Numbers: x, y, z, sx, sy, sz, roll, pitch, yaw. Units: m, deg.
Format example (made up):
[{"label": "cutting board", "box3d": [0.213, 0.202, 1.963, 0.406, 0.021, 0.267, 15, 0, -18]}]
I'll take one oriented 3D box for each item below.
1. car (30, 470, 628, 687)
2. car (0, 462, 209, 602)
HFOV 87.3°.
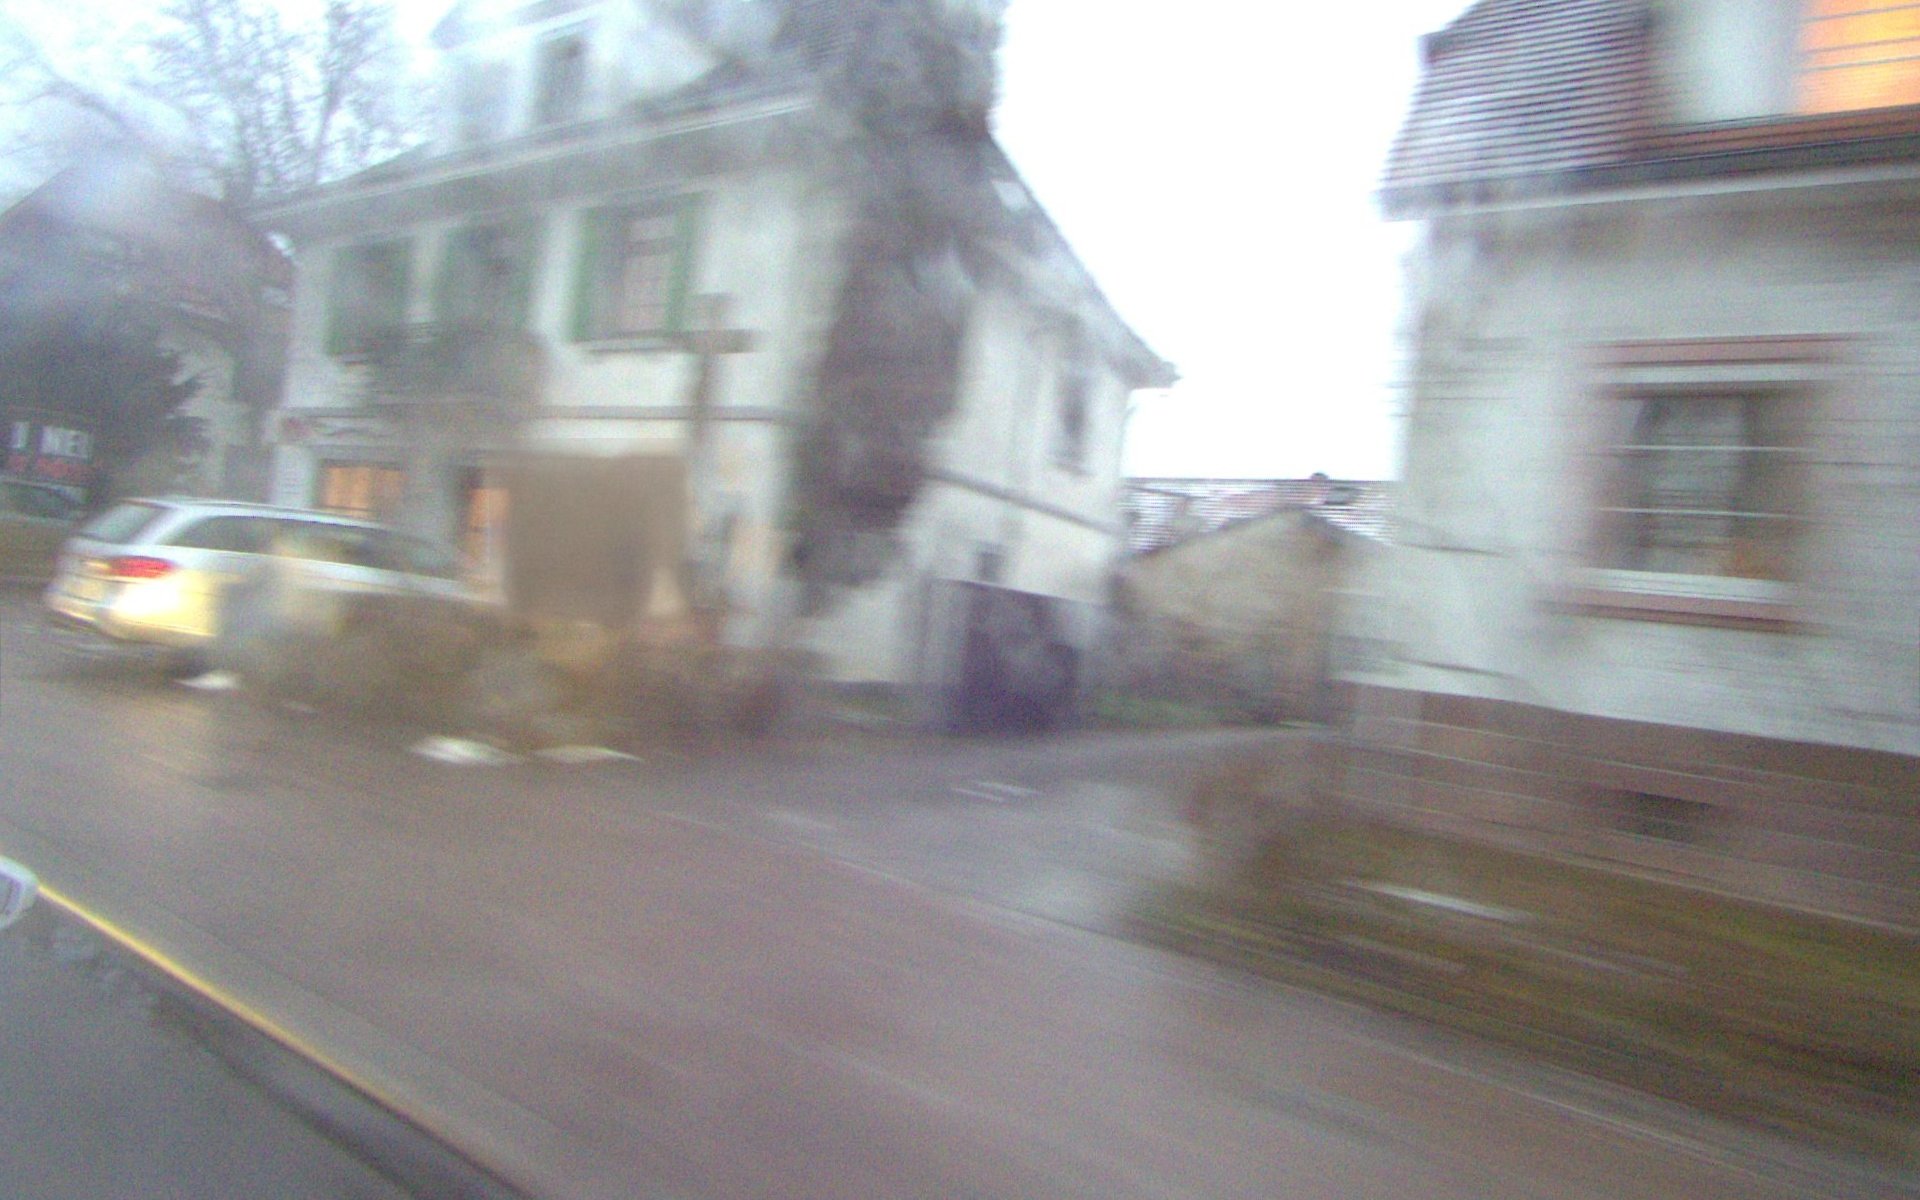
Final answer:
[{"label": "car", "box3d": [-6.035, -0.116, 10.232, 1.878, 1.651, 4.730, 7, 1, 37]}, {"label": "car", "box3d": [-13.875, -1.079, 14.716, 1.967, 1.726, 4.108, 6, -2, 32]}]
